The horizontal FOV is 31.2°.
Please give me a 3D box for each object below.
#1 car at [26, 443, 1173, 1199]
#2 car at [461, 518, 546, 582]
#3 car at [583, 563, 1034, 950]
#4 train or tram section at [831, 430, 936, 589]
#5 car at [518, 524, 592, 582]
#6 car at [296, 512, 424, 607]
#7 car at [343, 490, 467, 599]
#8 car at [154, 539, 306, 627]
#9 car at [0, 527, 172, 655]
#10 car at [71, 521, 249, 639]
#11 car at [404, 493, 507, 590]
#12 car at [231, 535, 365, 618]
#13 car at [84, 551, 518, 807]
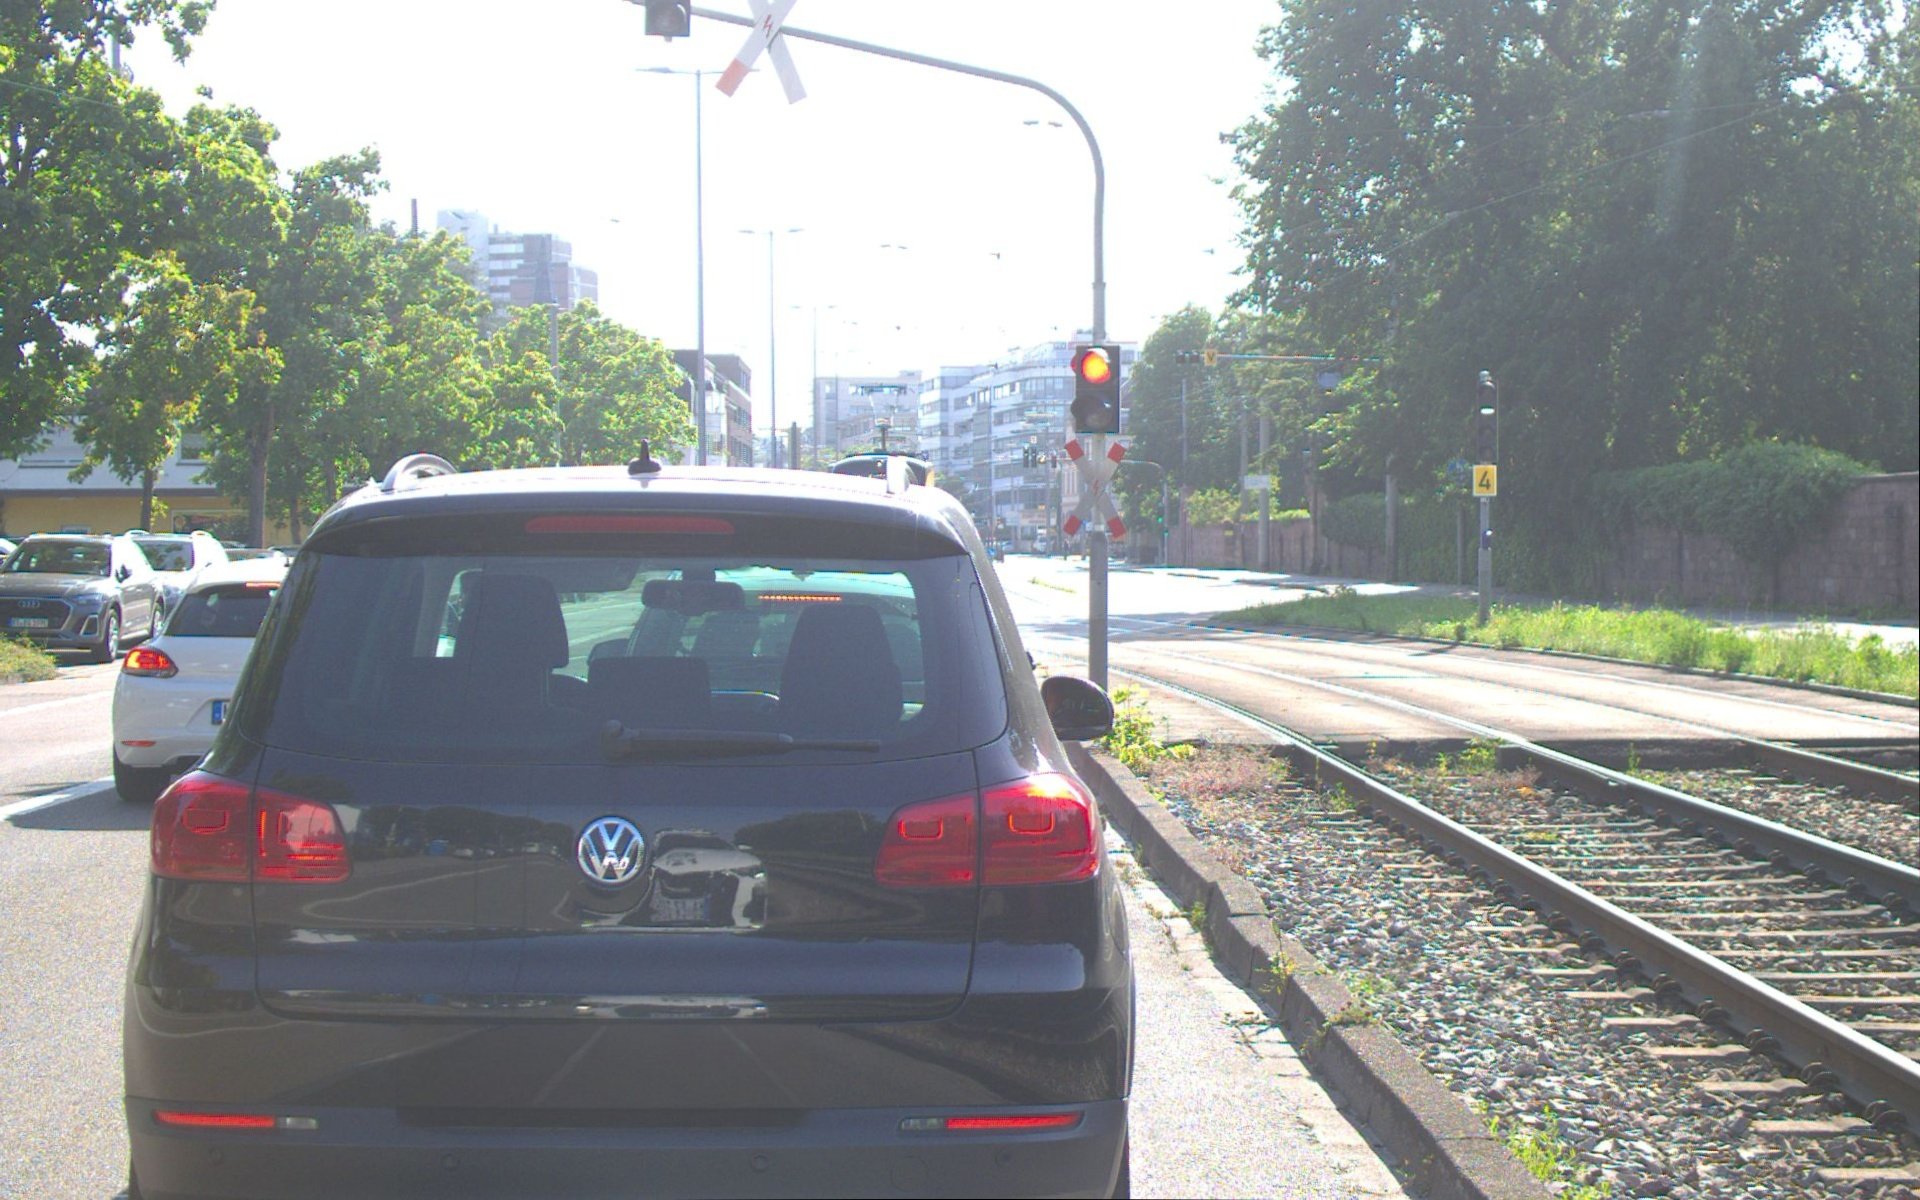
[{"bbox_3d":[-0.597,0.548,7.465,1.811,1.639,4.000,1,1,-1],"label":"car"},{"bbox_3d":[-12.581,-1.401,94.948,1.732,1.689,4.000,-1,2,1],"label":"car"},{"bbox_3d":[-0.588,0.565,14.869,1.669,1.382,4.000,-1,1,-1],"label":"car"},{"bbox_3d":[-1.766,-2.134,81.887,2.326,3.558,8.901,-1,1,-1],"label":"train or tram section"},{"bbox_3d":[-12.510,-1.470,106.335,1.732,1.689,4.000,-1,2,1],"label":"car"},{"bbox_3d":[-12.140,-0.846,69.803,1.732,1.853,4.489,-1,1,1],"label":"car"},{"bbox_3d":[-12.304,-1.254,76.472,1.863,2.339,4.985,-1,1,1],"label":"car"},{"bbox_3d":[-12.402,-0.318,58.607,1.732,1.384,3.735,-1,2,1],"label":"car"},{"bbox_3d":[-12.075,-0.160,46.751,1.732,1.652,4.000,-1,1,1],"label":"car"},{"bbox_3d":[-12.194,-0.335,52.609,1.732,1.689,4.000,-1,2,1],"label":"car"},{"bbox_3d":[-12.193,-1.438,83.300,1.732,2.261,4.645,-1,1,1],"label":"car"},{"bbox_3d":[-12.379,-0.462,64.489,1.732,1.445,3.735,-1,2,1],"label":"car"},{"bbox_3d":[-3.814,0.397,20.550,1.864,1.343,4.000,0,1,-1],"label":"car"}]
